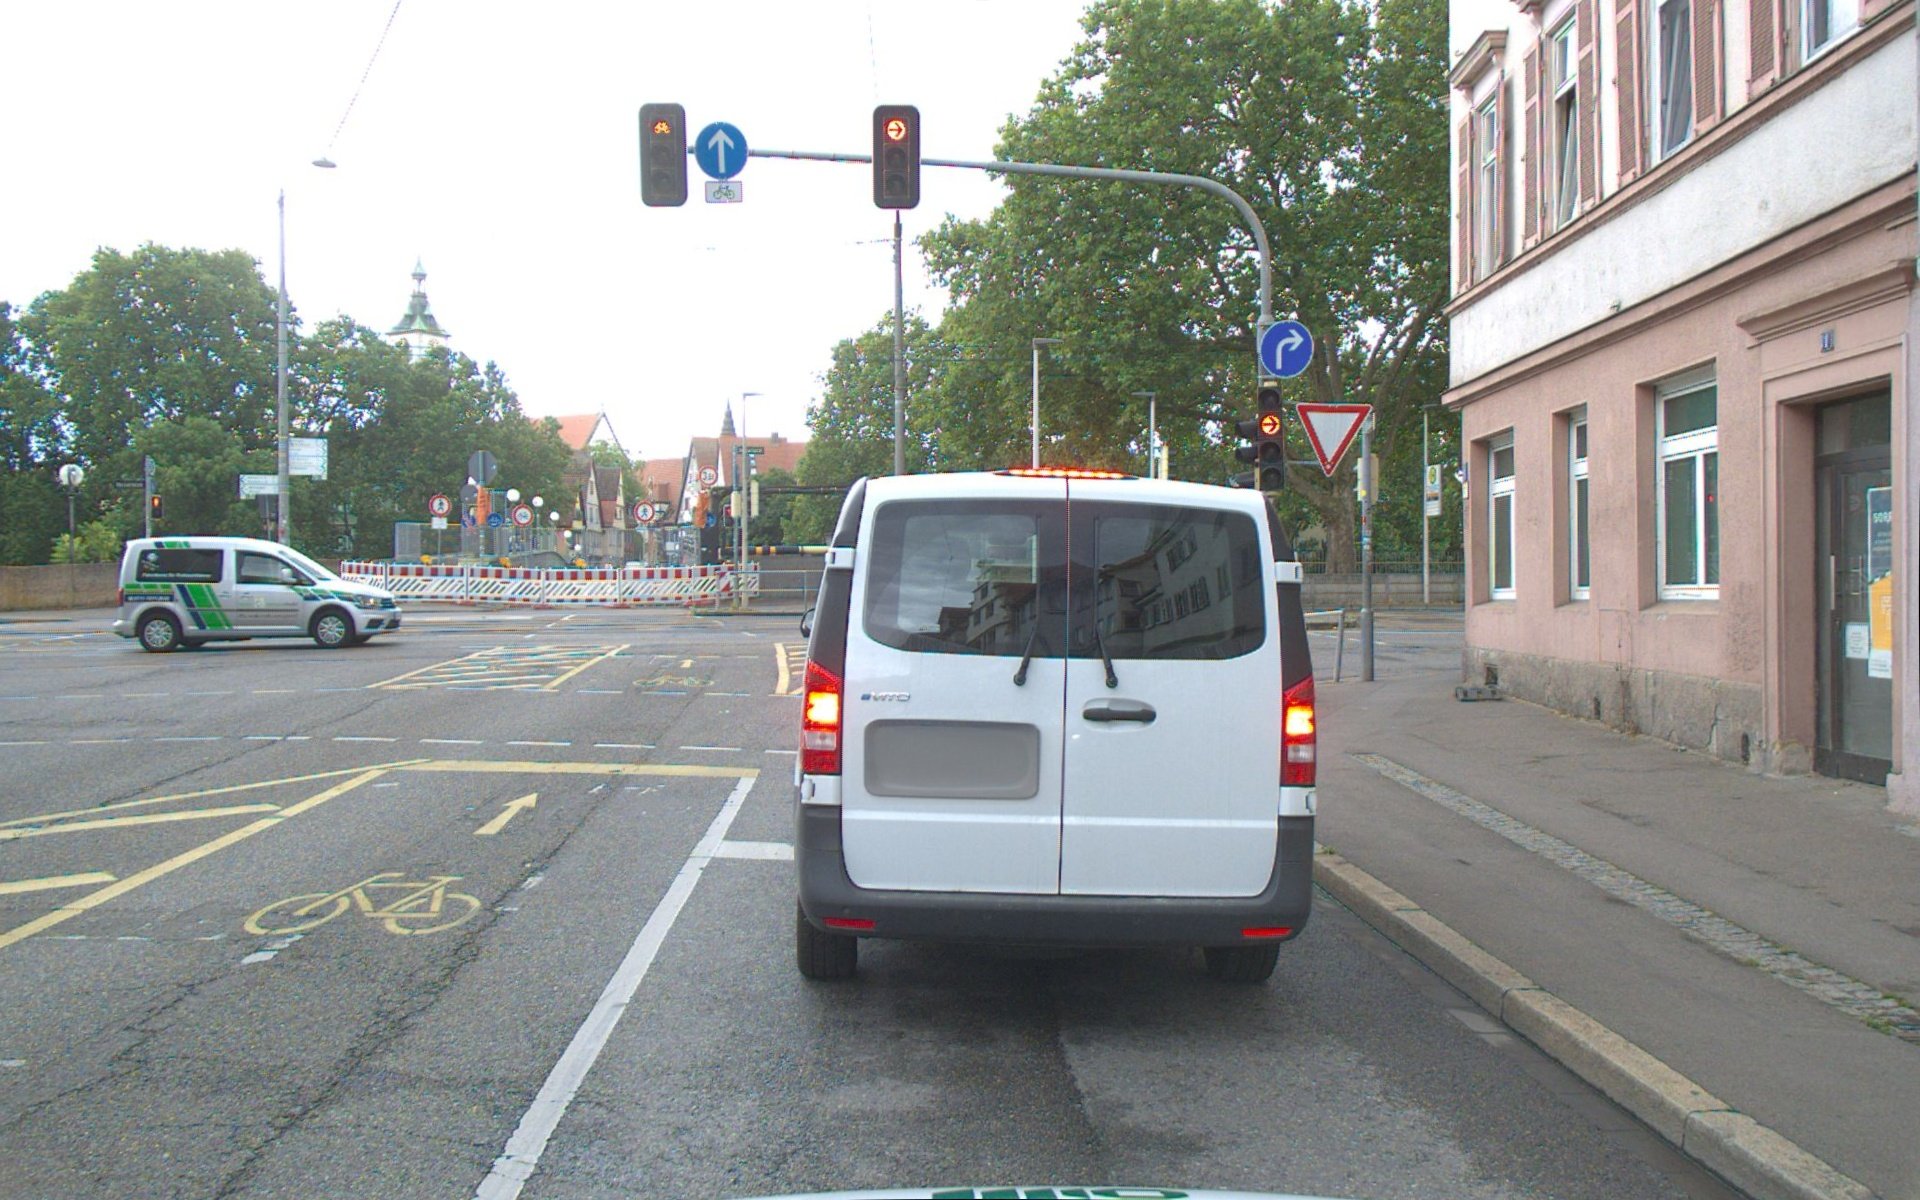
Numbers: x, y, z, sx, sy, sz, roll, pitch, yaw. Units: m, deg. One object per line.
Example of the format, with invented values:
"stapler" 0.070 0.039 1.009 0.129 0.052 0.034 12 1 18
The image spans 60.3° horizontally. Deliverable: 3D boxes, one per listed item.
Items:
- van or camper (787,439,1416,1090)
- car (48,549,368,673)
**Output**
"van or camper" 0.358 0.456 7.228 1.899 1.958 4.439 0 1 -2
"car" -12.001 0.138 26.684 4.266 1.834 1.996 -1 1 -9
